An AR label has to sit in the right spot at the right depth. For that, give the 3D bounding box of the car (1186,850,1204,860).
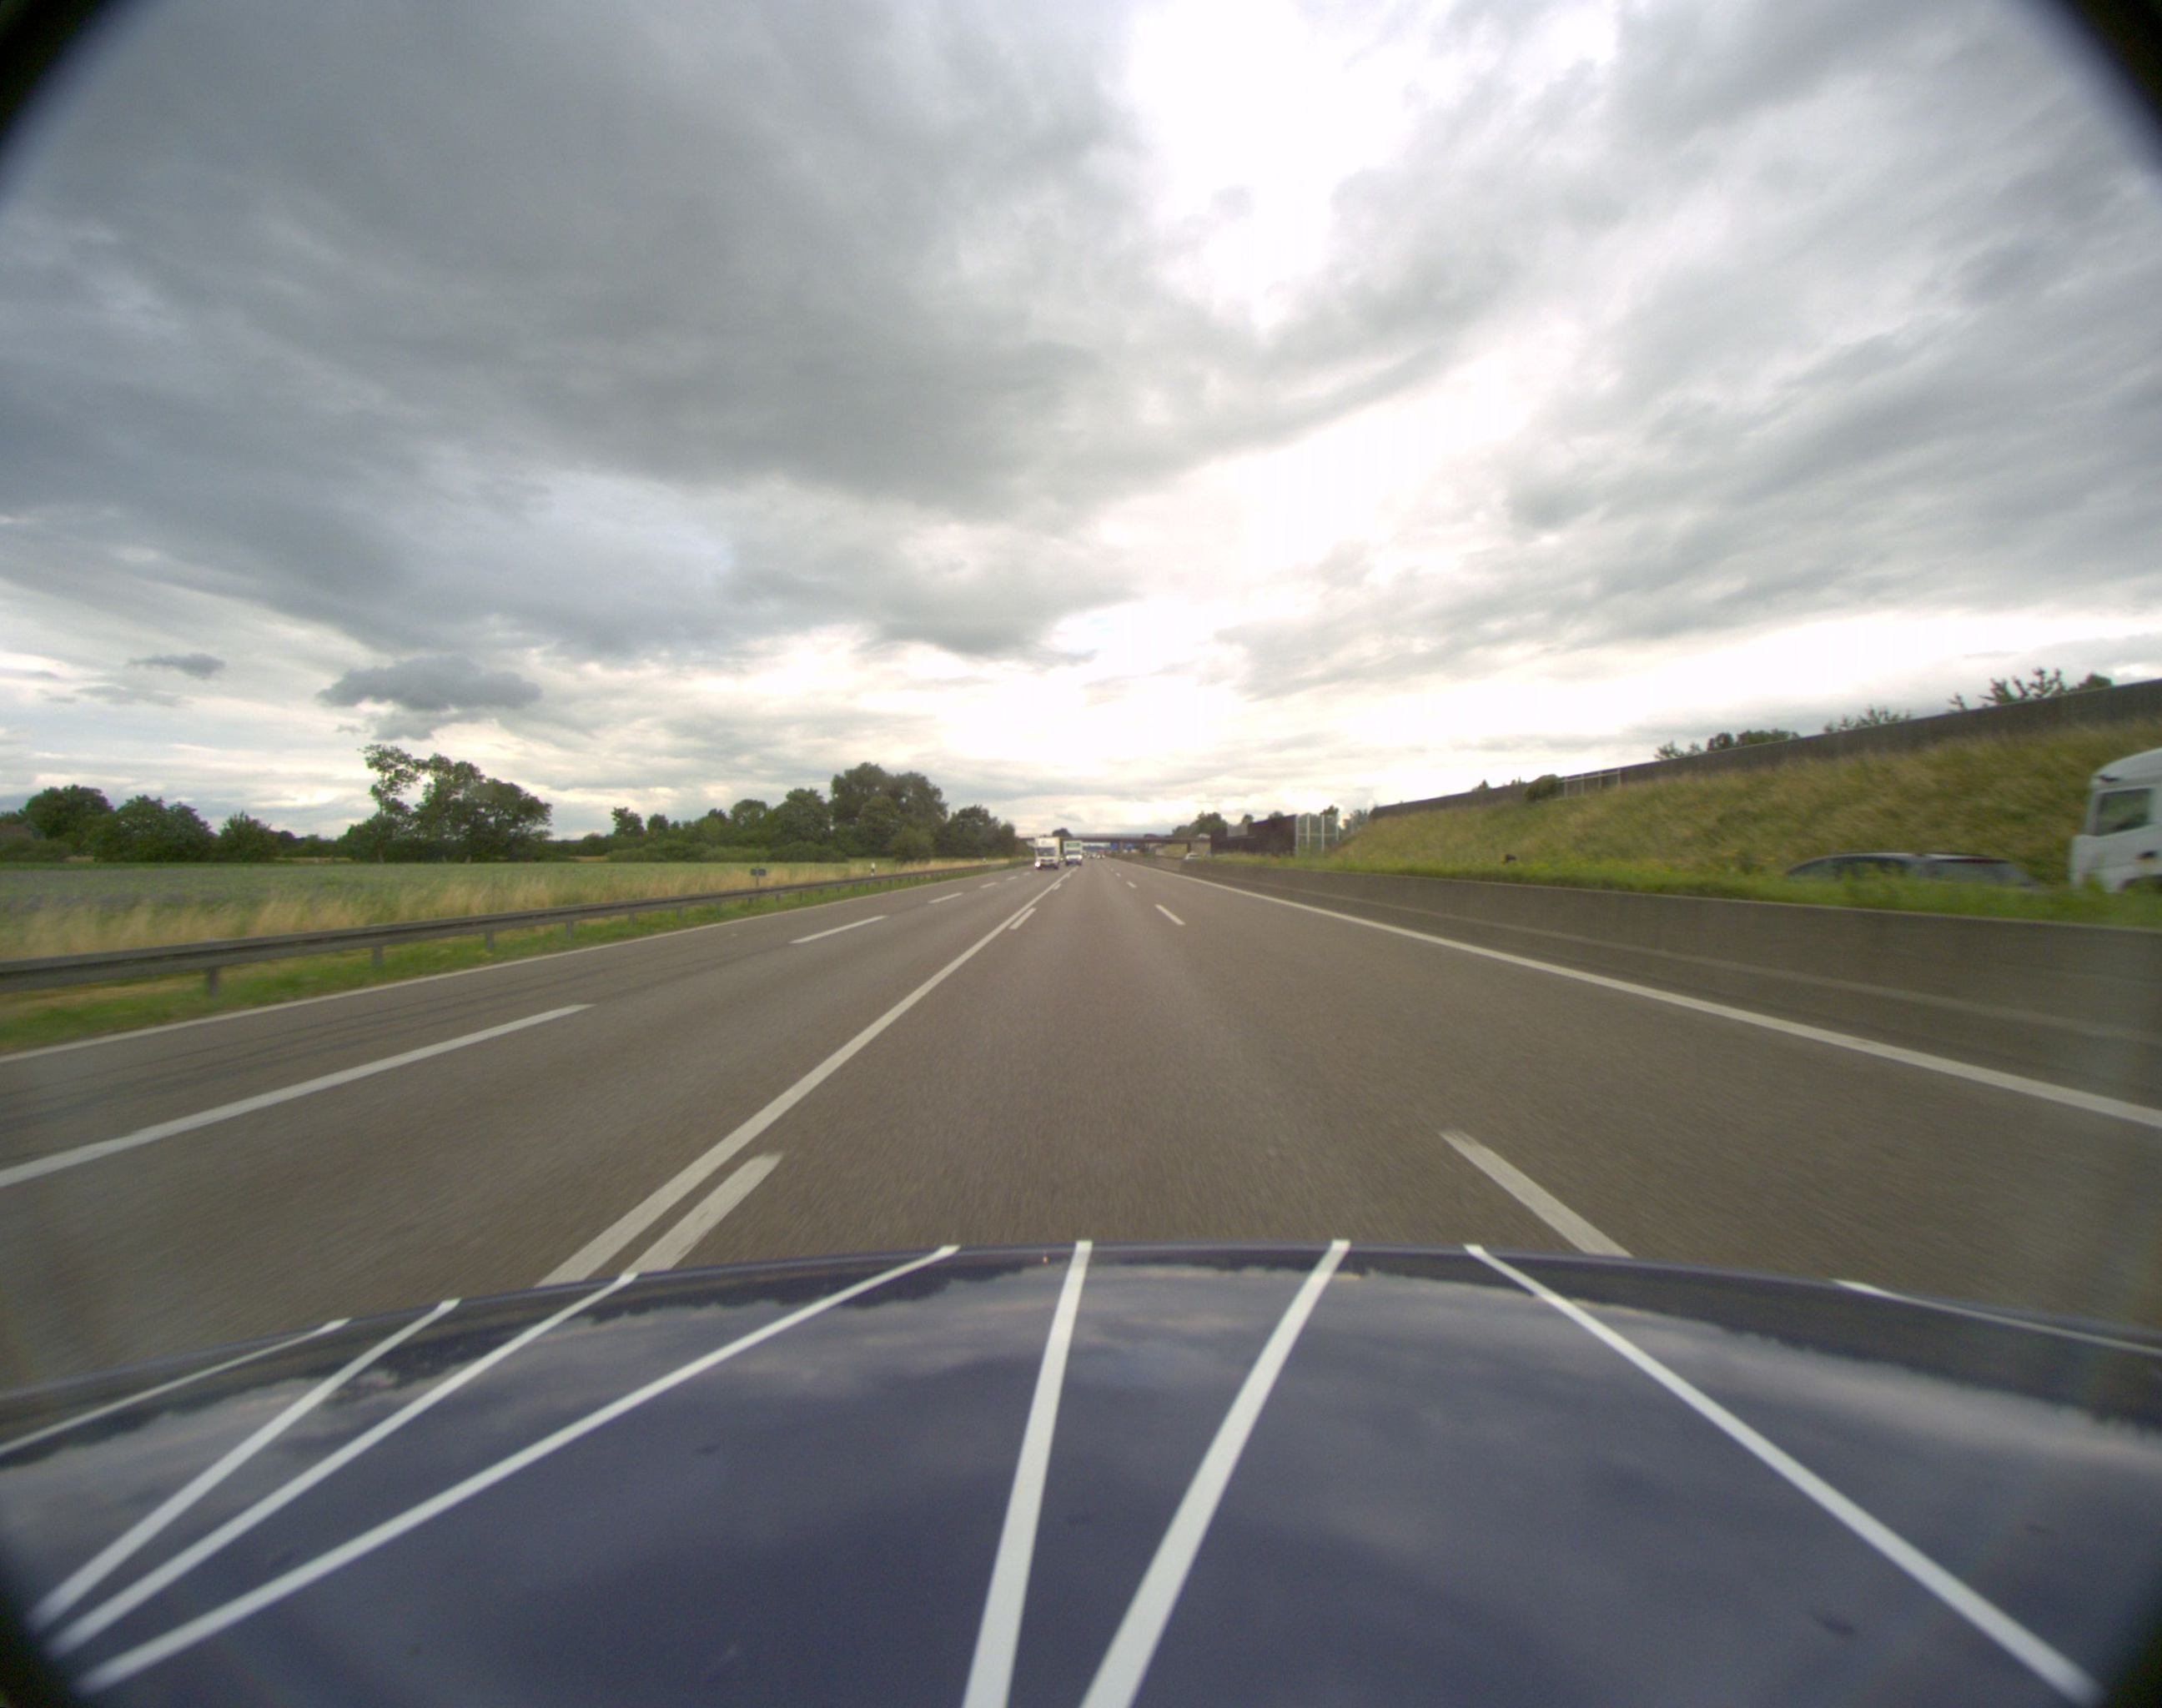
[{"bbox_3d":[14.755,0.102,98.487,1.715,1.264,3.699,-2,0,0],"label":"car"}]

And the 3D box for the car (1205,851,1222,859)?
[{"bbox_3d":[23.233,0.148,133.407,1.998,1.356,4.940,-2,0,1],"label":"car"}]

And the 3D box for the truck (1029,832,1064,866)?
[{"bbox_3d":[-3.616,-0.532,82.697,3.112,3.450,8.891,-2,0,1],"label":"truck"}]

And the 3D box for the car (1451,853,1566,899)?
[{"bbox_3d":[15.769,0.752,28.301,1.998,1.504,4.000,-2,0,1],"label":"car"}]

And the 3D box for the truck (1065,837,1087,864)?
[{"bbox_3d":[-0.622,-0.426,106.252,2.777,3.484,9.062,-2,0,1],"label":"truck"}]

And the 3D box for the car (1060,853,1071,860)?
[{"bbox_3d":[-3.181,0.473,156.885,1.922,1.541,4.924,0,0,2],"label":"car"}]

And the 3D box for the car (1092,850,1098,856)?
[{"bbox_3d":[4.370,-0.305,241.293,1.998,2.002,4.000,0,0,1],"label":"car"}]

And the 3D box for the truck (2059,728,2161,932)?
[{"bbox_3d":[20.663,-0.417,11.255,2.733,3.656,7.489,0,0,1],"label":"truck"}]

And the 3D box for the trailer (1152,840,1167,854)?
[{"bbox_3d":[24.667,-2.116,238.621,3.680,3.957,12.678,-2,0,1],"label":"trailer"}]

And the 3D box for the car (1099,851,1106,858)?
[{"bbox_3d":[6.120,0.209,216.892,1.998,2.002,4.000,0,0,1],"label":"car"}]

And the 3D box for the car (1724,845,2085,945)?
[{"bbox_3d":[13.393,0.577,12.765,1.998,1.356,3.746,-2,0,1],"label":"car"}]

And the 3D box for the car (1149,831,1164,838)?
[{"bbox_3d":[22.771,-5.981,229.327,3.999,2.002,1.999,-2,1,-7],"label":"car"}]
